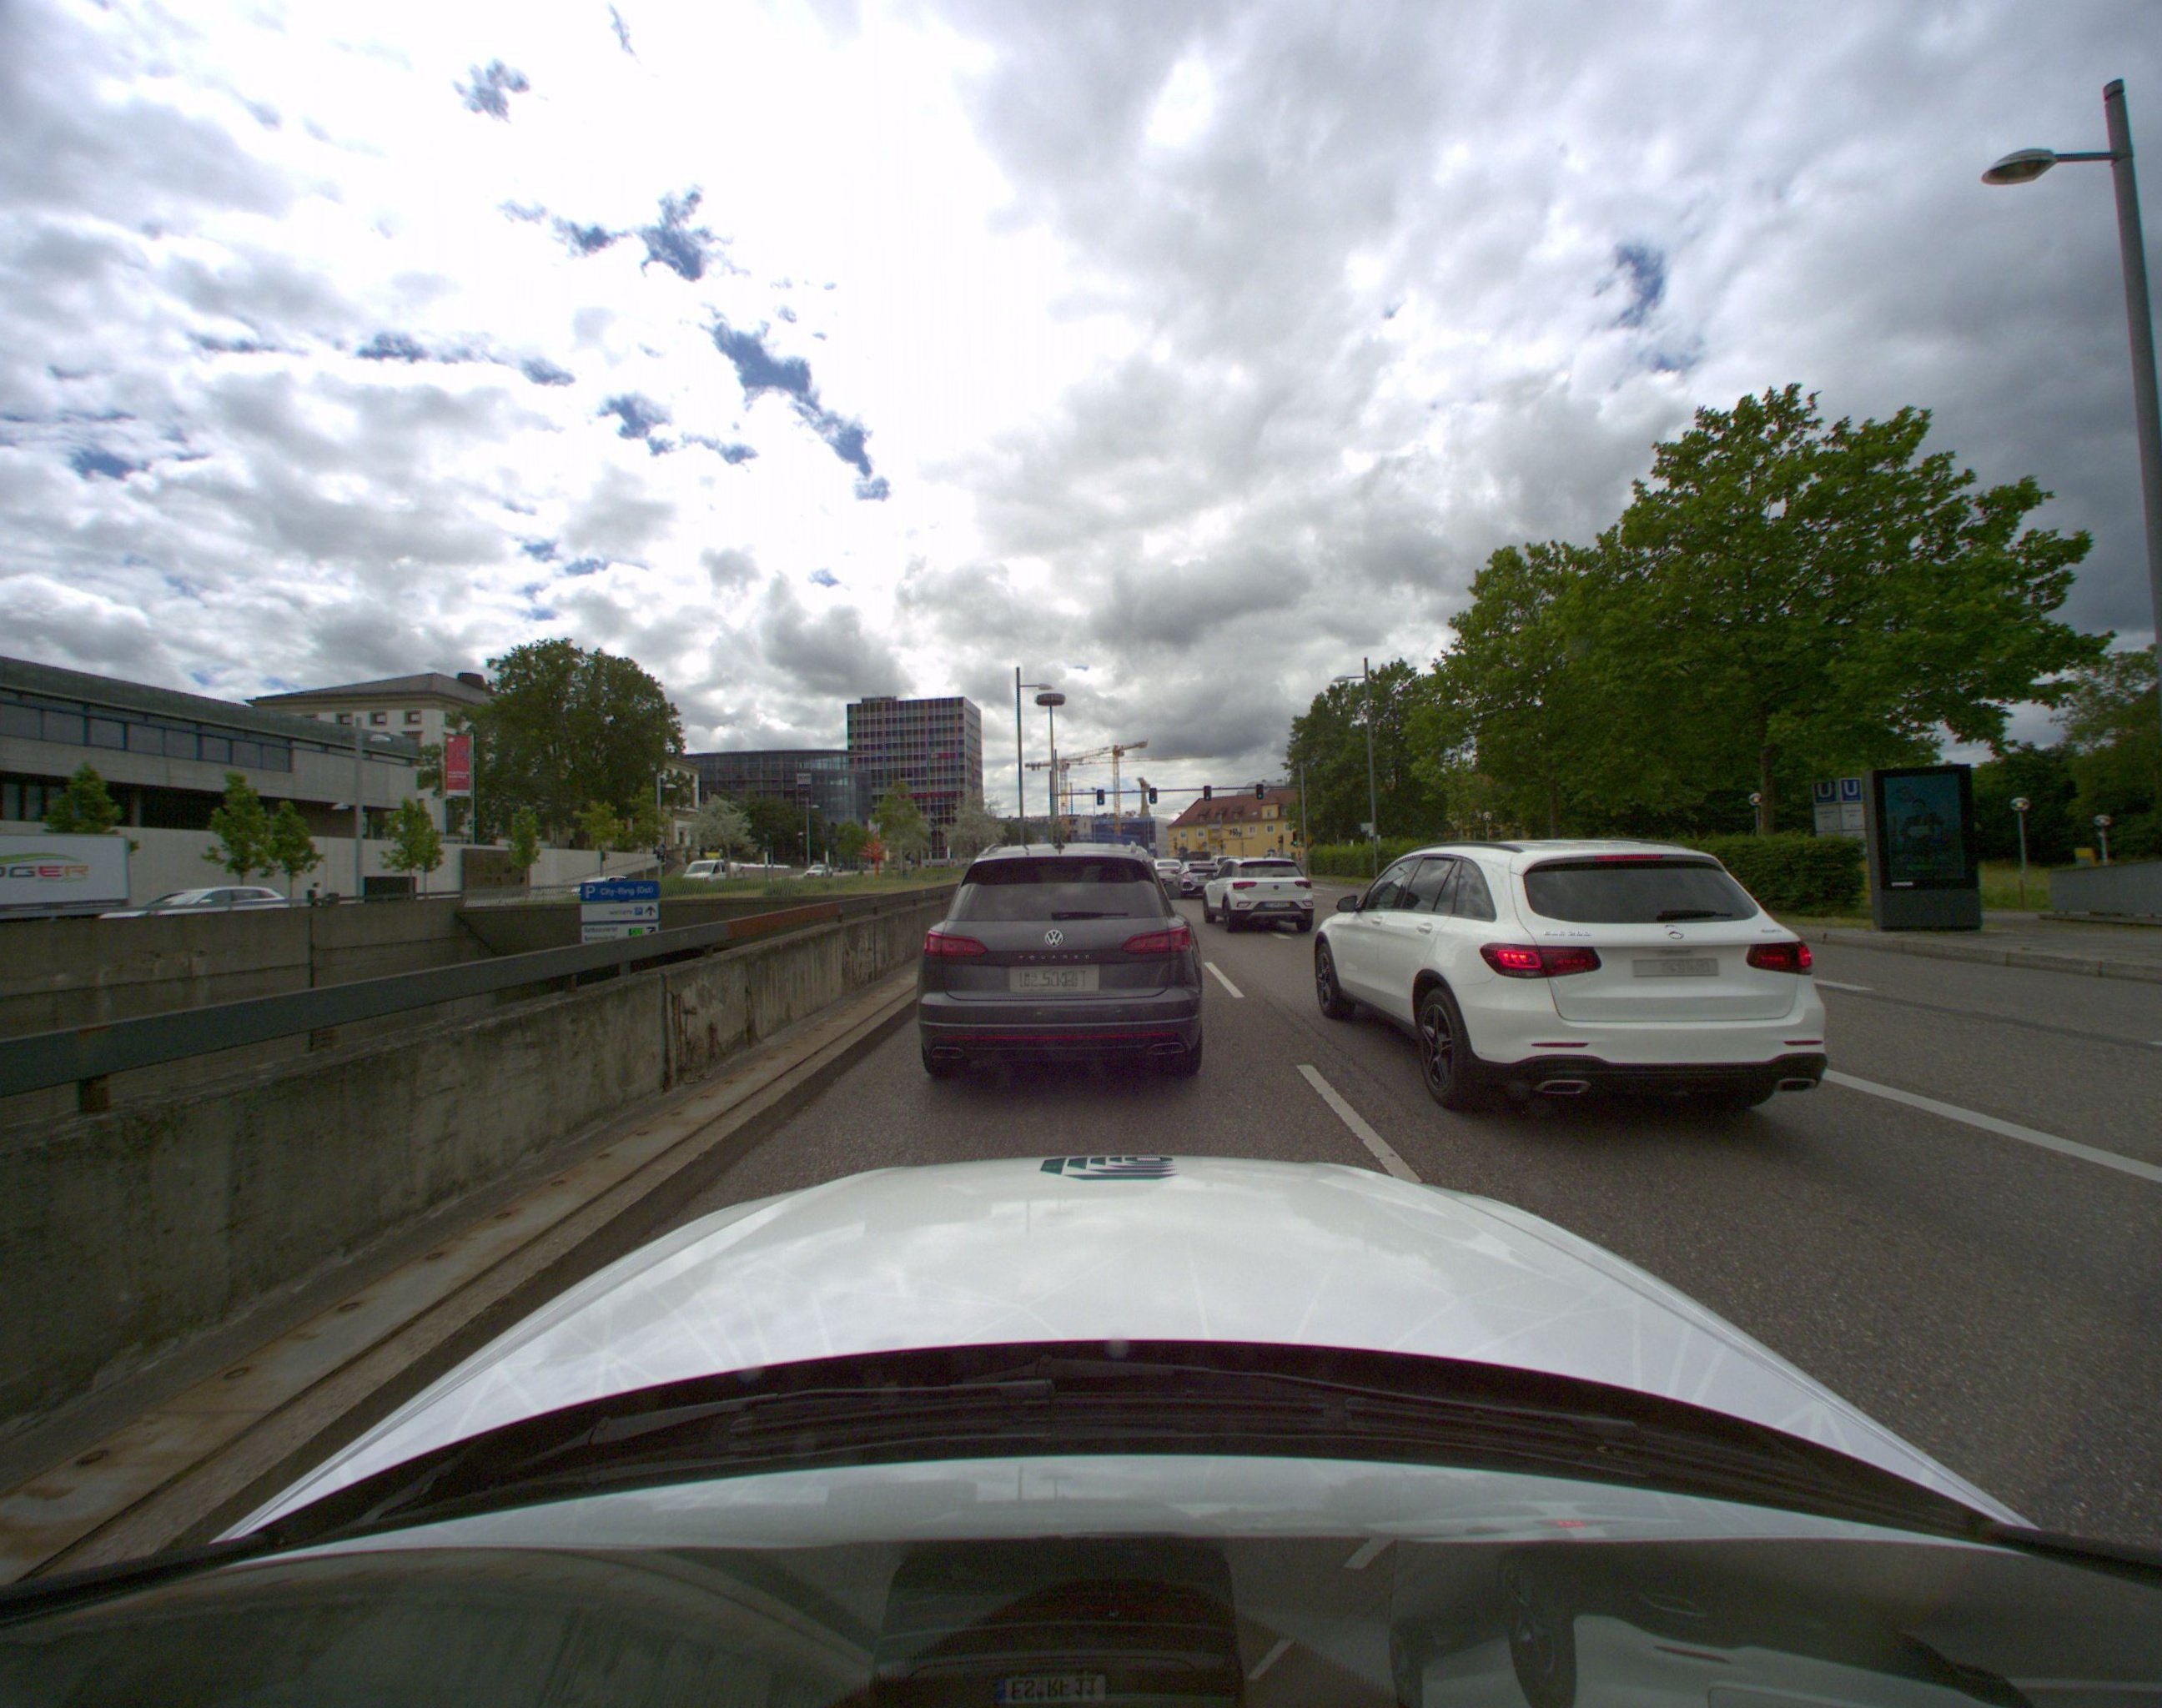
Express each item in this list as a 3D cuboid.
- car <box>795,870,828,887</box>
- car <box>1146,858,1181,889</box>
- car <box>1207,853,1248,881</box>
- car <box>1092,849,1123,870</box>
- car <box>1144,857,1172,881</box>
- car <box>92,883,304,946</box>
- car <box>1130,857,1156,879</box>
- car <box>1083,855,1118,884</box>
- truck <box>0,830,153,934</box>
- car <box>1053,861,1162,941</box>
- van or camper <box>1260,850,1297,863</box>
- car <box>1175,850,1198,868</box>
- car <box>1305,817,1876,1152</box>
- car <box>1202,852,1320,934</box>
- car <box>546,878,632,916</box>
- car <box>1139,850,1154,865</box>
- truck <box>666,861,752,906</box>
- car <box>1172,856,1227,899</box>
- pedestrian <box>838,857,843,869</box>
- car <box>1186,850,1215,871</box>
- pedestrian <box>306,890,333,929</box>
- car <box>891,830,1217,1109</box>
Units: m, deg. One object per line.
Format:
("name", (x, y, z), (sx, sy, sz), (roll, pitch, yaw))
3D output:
("car", (-28.474, 2.584, 86.049), (1.712, 1.574, 4.616), (-1, 0, 3))
("car", (4.287, 0.993, 42.612), (1.711, 1.502, 3.987), (-1, 0, 5))
("car", (8.365, 0.689, 46.732), (1.795, 1.502, 3.984), (-1, 0, 3))
("car", (2.045, 0.413, 61.053), (2.235, 1.502, 4.615), (-1, 0, 3))
("car", (5.276, 1.015, 56.399), (1.712, 1.502, 3.984), (-1, 0, 3))
("car", (-26.984, 1.793, 25.139), (1.712, 1.574, 4.274), (-1, 0, 3))
("car", (5.278, 1.174, 69.169), (2.129, 1.728, 4.075), (-1, -1, 4))
("car", (1.071, 0.811, 44.714), (1.807, 1.496, 3.908), (-1, 0, 2))
("truck", (-30.700, 0.792, 21.789), (3.219, 2.787, 7.256), (-1, 0, 1))
("car", (0.556, 0.887, 17.162), (1.986, 1.387, 4.002), (-1, 0, 2))
("van or camper", (34.290, 0.465, 141.663), (5.947, 2.014, 2.032), (-2, -1, 37))
("car", (9.306, 0.409, 72.069), (1.712, 1.502, 3.984), (-1, 0, 3))
("car", (3.125, 0.648, 6.243), (1.811, 1.647, 4.382), (-1, 0, 3))
("car", (3.847, 0.768, 18.034), (1.886, 1.585, 3.803), (-1, 0, 2))
("car", (-26.820, 2.308, 44.567), (1.986, 1.816, 4.260), (-1, 0, 2))
("car", (9.381, 0.453, 116.756), (1.986, 2.013, 4.002), (-1, 0, 2))
("truck", (-26.066, 1.951, 57.442), (2.453, 2.816, 7.084), (-1, 0, 3))
("car", (4.552, 0.861, 31.787), (1.712, 1.502, 4.147), (-1, 0, 3))
("pedestrian", (-34.557, 1.323, 116.955), (0.522, 1.649, 0.650), (0, -1, 0))
("car", (8.922, 0.453, 60.992), (1.712, 1.502, 3.984), (-1, 0, 3))
("pedestrian", (-34.532, 2.508, 36.930), (0.538, 1.733, 0.664), (-1, 0, 1))
("car", (-0.101, 0.689, 6.877), (1.925, 1.647, 4.002), (-1, 0, 2))
